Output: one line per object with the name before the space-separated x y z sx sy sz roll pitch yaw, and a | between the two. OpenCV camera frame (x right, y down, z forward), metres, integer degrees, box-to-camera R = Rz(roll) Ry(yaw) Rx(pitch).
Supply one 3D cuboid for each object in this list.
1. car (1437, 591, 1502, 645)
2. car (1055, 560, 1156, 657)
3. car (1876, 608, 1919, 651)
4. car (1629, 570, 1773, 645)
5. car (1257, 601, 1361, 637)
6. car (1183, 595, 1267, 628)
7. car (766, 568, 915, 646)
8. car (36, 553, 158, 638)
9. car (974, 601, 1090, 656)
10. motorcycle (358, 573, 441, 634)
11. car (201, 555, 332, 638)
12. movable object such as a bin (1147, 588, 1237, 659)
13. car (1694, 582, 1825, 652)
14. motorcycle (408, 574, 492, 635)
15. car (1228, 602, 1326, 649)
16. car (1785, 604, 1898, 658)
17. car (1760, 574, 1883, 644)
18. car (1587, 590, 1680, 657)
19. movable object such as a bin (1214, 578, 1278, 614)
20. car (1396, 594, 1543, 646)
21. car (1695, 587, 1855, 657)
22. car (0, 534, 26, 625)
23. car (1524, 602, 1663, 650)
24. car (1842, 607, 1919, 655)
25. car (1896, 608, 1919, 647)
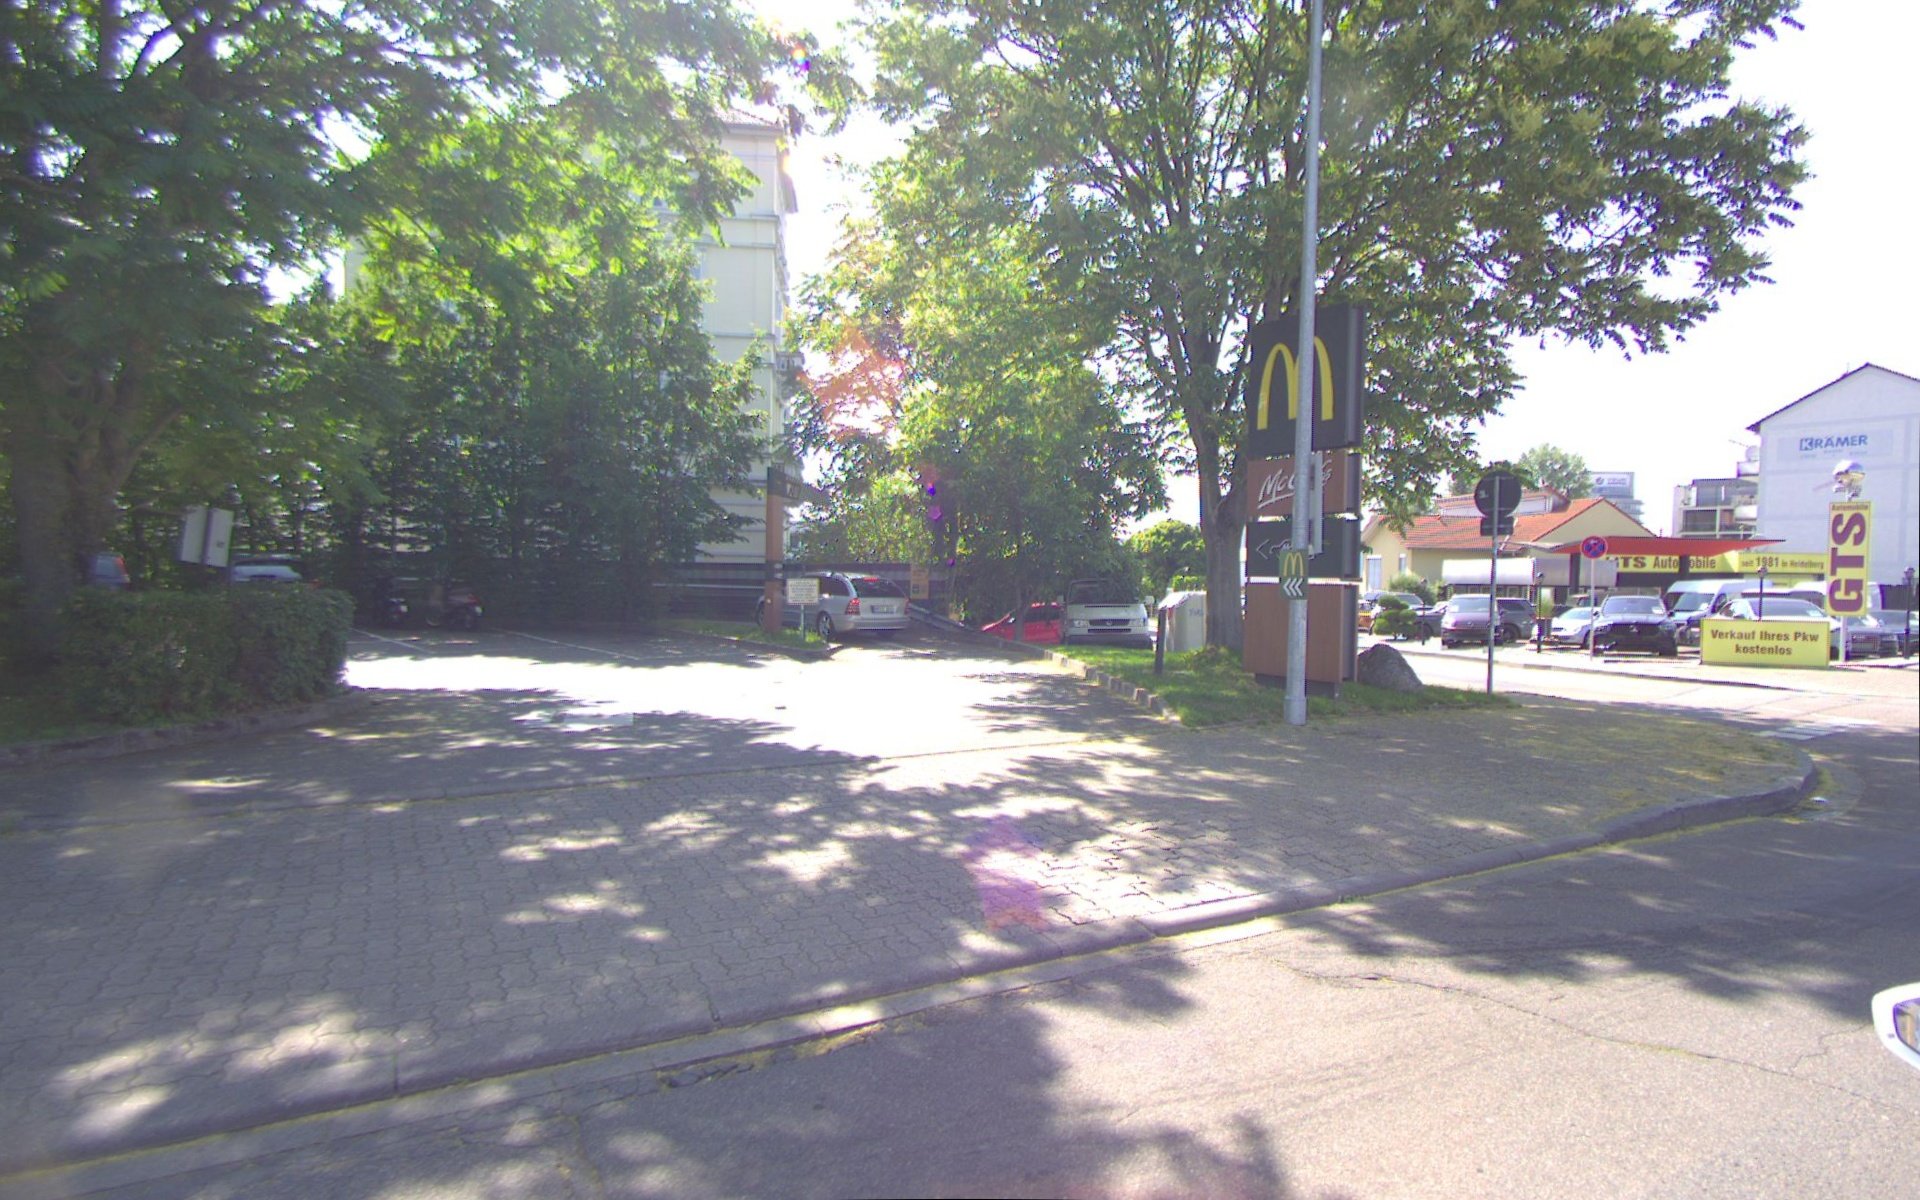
car | 16.971 0.573 33.375 1.778 1.678 4.307 0 0 29
car | 3.211 0.251 22.936 1.855 1.945 4.527 -1 -2 3
car | 34.850 1.051 36.231 1.753 1.492 3.994 -1 -1 29
car | 29.667 0.341 40.189 6.077 2.794 2.267 1 0 -29
car | 15.899 0.856 45.819 4.058 1.509 1.867 1 0 -9
car | 14.820 0.623 56.284 4.096 1.773 1.889 1 0 -9
car | -2.747 0.063 22.236 1.694 1.423 4.350 -1 4 -30
car | -16.342 -0.143 19.109 1.614 1.414 4.023 0 3 -40
car | 2.169 0.849 30.805 3.341 1.485 1.693 -2 1 -3
motorcycle | -11.367 0.051 20.356 2.147 1.131 0.568 3 3 34
car | -13.620 -0.126 19.630 1.756 1.406 4.047 0 3 -40
movable object such as a bin | 5.339 0.535 23.294 1.429 1.547 1.773 -2 0 -10
car | 29.139 0.617 36.586 4.770 2.381 2.234 2 0 -32
motorcycle | -10.494 0.069 20.646 2.147 1.147 0.568 3 3 34
car | 11.300 0.879 36.145 1.651 1.513 4.601 1 0 -6
car | 26.044 0.886 29.815 1.810 1.492 3.991 -1 -1 31
car | 34.396 0.382 40.035 5.662 2.463 2.231 2 4 -35
car | 19.014 0.671 28.514 2.014 1.730 4.305 1 -1 32
movable object such as a bin | 24.161 -0.307 85.020 4.740 2.946 1.999 1 1 -3
car | 19.739 0.739 39.186 4.794 1.867 2.163 1 0 17
car | 21.979 0.643 27.334 1.943 1.729 4.665 0 -3 20
car | -20.318 -0.480 20.379 1.787 1.755 3.976 0 3 -40
car | 22.620 0.902 35.876 4.619 1.596 1.904 0 1 -23
car | 30.616 0.974 32.967 1.810 1.492 3.991 -1 -1 31
car | 38.103 1.057 38.785 1.640 1.492 3.997 -1 -1 24
